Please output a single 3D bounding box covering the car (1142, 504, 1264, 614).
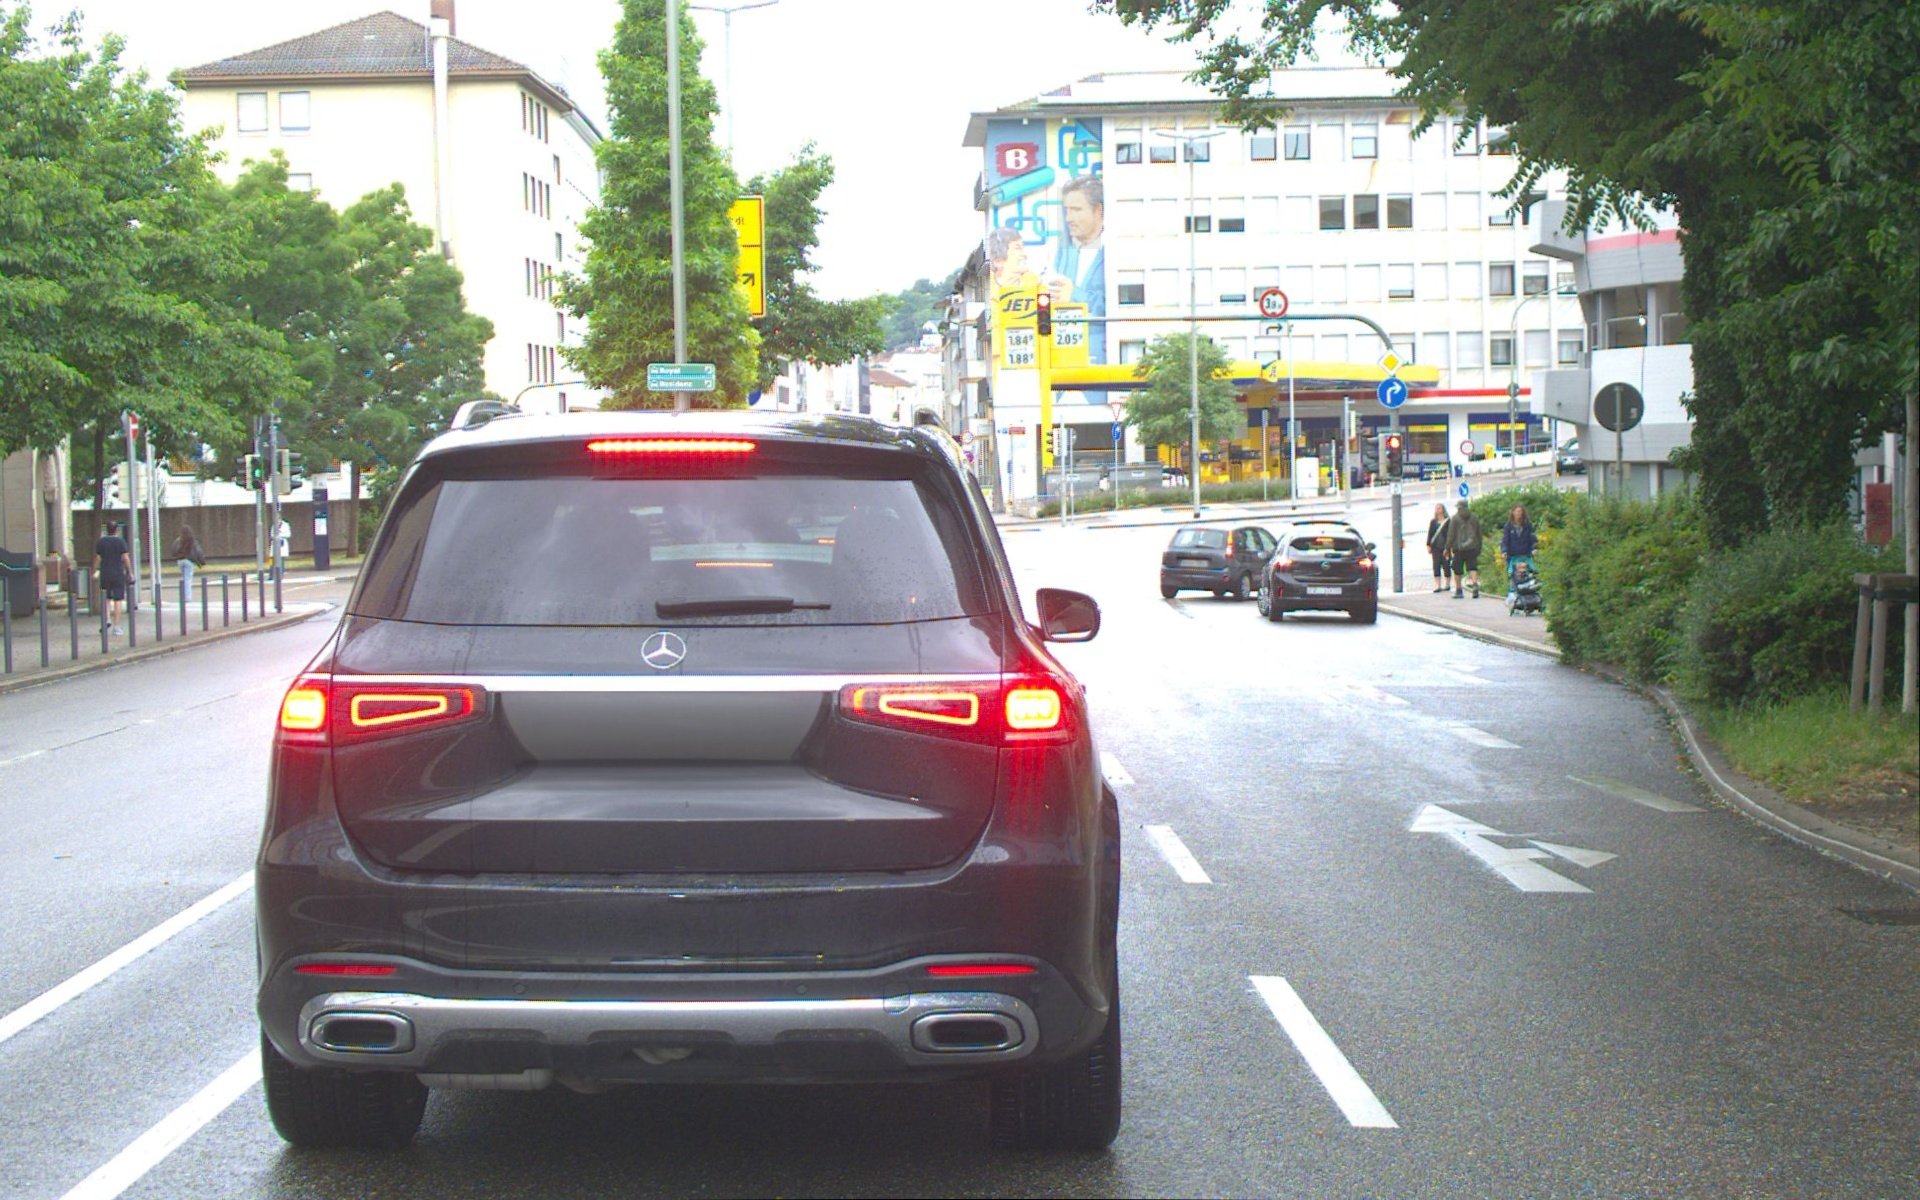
[{"bbox_3d":[4.615,-0.773,65.871,1.993,2.007,4.000,1,0,0],"label":"car"}]

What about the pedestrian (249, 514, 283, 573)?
[{"bbox_3d":[-17.266,-1.409,85.543,0.711,1.457,0.598,1,0,-2],"label":"pedestrian"}]

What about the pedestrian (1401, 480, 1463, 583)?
[{"bbox_3d":[9.336,-1.364,68.033,1.025,2.007,0.999,1,1,-2],"label":"pedestrian"}]

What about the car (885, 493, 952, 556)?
[{"bbox_3d":[-1.387,-2.464,113.545,1.993,2.007,4.001,1,0,-3],"label":"car"}]

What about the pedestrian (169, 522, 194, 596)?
[{"bbox_3d":[-17.287,-0.912,76.353,0.399,1.639,0.567,1,0,-1],"label":"pedestrian"}]

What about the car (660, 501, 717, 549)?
[{"bbox_3d":[-11.678,-3.205,147.457,1.993,2.007,4.001,1,0,-11],"label":"car"}]

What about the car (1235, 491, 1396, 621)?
[{"bbox_3d":[5.669,-0.740,55.308,1.993,2.007,4.001,0,2,-3],"label":"car"}]

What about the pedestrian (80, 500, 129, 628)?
[{"bbox_3d":[-13.561,-0.573,54.503,0.587,2.007,0.749,1,0,-3],"label":"pedestrian"}]

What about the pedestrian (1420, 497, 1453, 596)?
[{"bbox_3d":[9.269,-1.041,66.857,0.519,1.904,0.556,1,0,-1],"label":"pedestrian"}]

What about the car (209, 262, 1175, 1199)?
[{"bbox_3d":[-0.628,0.296,9.213,1.993,2.007,4.000,1,0,-2],"label":"car"}]

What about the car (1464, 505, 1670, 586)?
[{"bbox_3d":[15.547,-1.423,88.171,4.803,2.006,2.001,-1,2,-8],"label":"car"}]

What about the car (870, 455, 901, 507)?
[{"bbox_3d":[-4.897,-7.870,226.429,1.993,2.003,4.008,1,24,-2],"label":"car"}]

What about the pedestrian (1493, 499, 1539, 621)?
[{"bbox_3d":[8.819,-0.637,54.544,0.663,1.911,0.728,1,0,11],"label":"pedestrian"}]

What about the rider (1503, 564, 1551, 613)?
[{"bbox_3d":[8.863,-0.182,53.764,0.694,0.737,0.632,1,0,7],"label":"rider"}]

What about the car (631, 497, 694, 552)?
[{"bbox_3d":[-10.575,-2.686,122.628,1.993,1.868,5.142,1,0,-2],"label":"car"}]

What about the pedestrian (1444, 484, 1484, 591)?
[{"bbox_3d":[9.187,-1.136,62.661,0.620,1.929,0.610,1,0,0],"label":"pedestrian"}]
